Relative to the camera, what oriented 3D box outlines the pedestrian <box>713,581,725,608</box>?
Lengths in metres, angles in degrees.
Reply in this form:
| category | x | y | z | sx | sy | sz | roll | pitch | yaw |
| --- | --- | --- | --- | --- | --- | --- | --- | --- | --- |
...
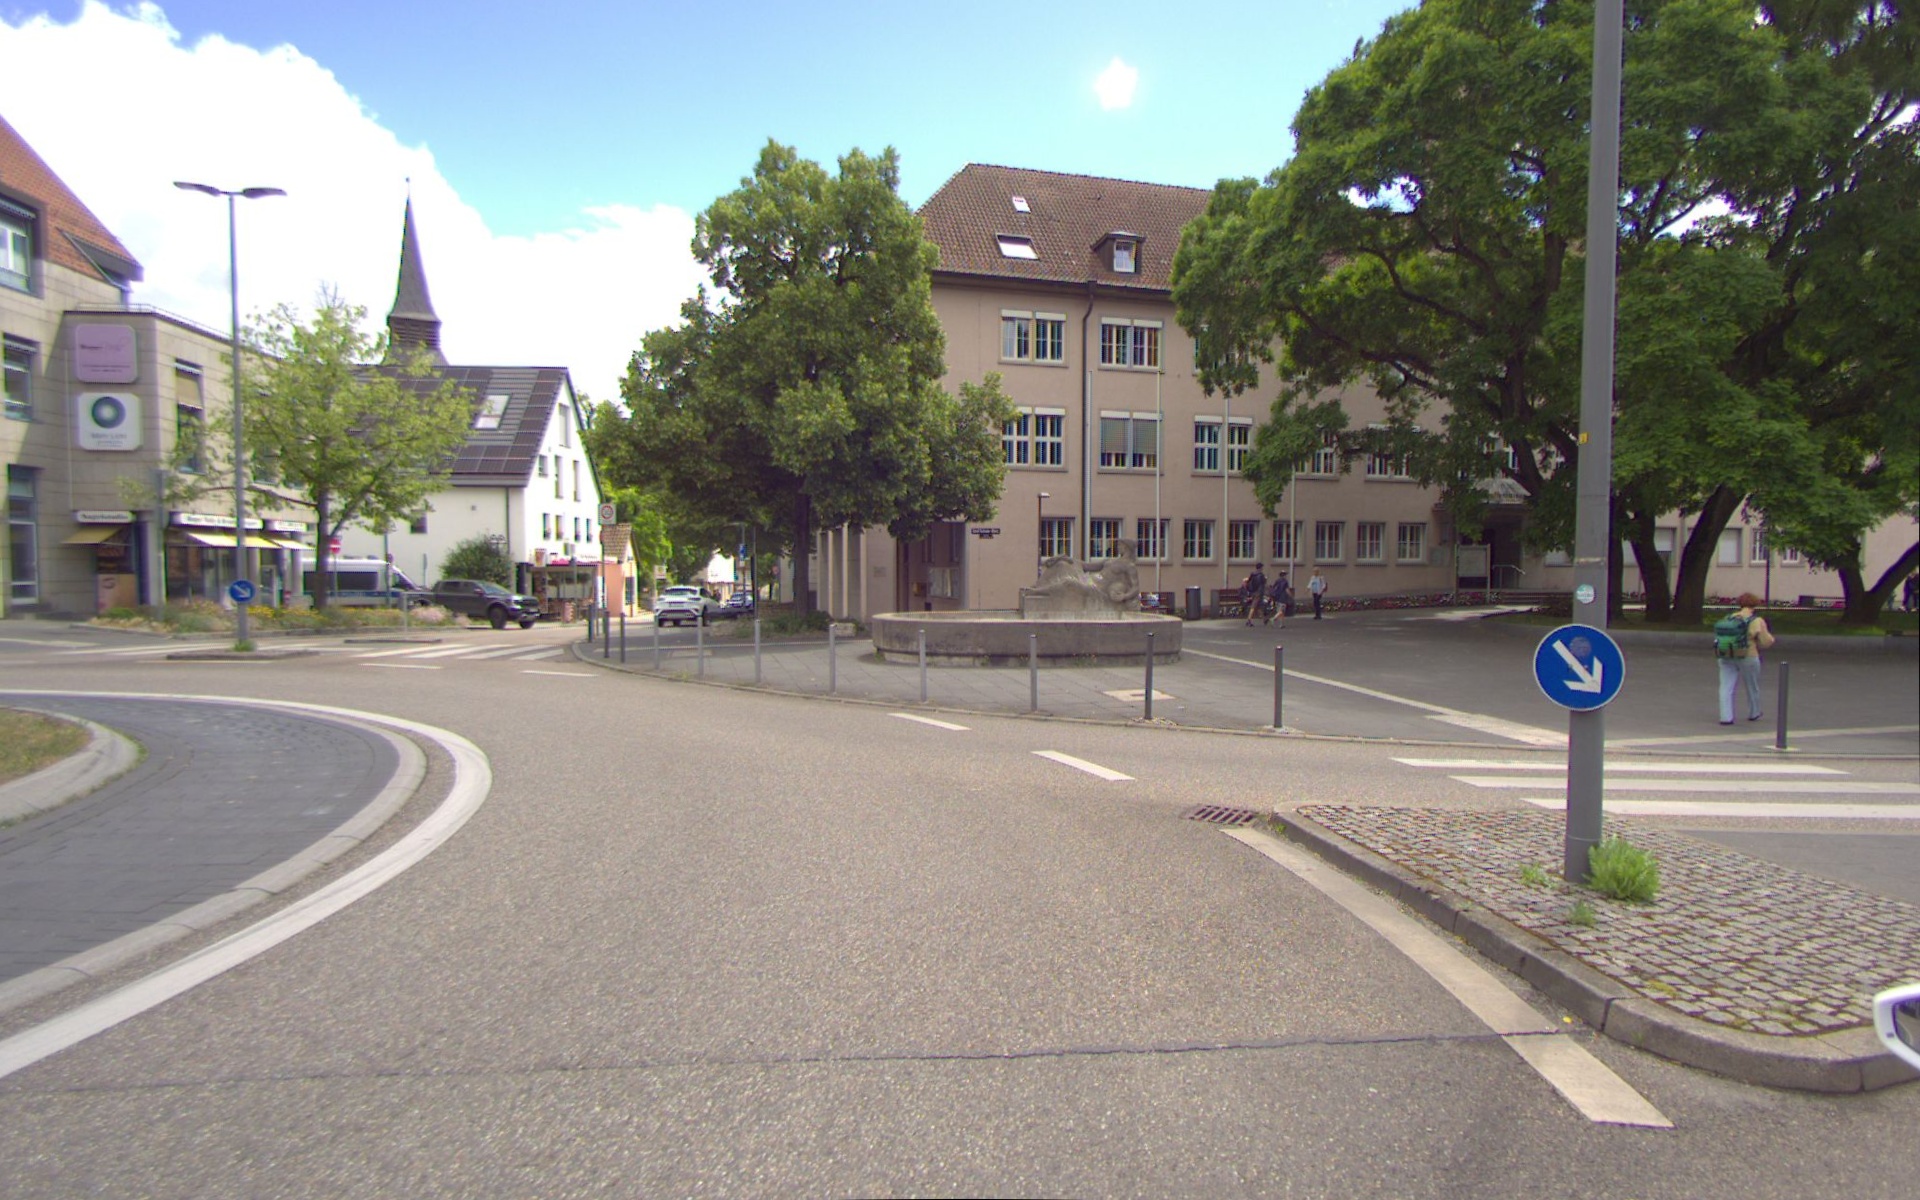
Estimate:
| category | x | y | z | sx | sy | sz | roll | pitch | yaw |
| --- | --- | --- | --- | --- | --- | --- | --- | --- | --- |
| pedestrian | -14.331 | -0.328 | 59.815 | 0.586 | 1.569 | 0.580 | 2 | 1 | -7 |

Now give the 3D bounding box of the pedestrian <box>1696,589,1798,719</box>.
| category | x | y | z | sx | sy | sz | roll | pitch | yaw |
| --- | --- | --- | --- | --- | --- | --- | --- | --- | --- |
| pedestrian | 9.653 | 0.646 | 12.335 | 0.773 | 1.535 | 0.551 | -1 | 3 | -4 |

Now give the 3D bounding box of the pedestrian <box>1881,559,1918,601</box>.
| category | x | y | z | sx | sy | sz | roll | pitch | yaw |
| --- | --- | --- | --- | --- | --- | --- | --- | --- | --- |
| pedestrian | 36.293 | -0.762 | 38.807 | 0.626 | 1.598 | 0.786 | 1 | 1 | -13 |

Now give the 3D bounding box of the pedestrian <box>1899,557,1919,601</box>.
| category | x | y | z | sx | sy | sz | roll | pitch | yaw |
| --- | --- | --- | --- | --- | --- | --- | --- | --- | --- |
| pedestrian | 35.876 | -0.784 | 37.613 | 0.626 | 1.649 | 0.786 | 1 | 1 | -13 |

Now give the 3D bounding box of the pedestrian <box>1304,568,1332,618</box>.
| category | x | y | z | sx | sy | sz | roll | pitch | yaw |
| --- | --- | --- | --- | --- | --- | --- | --- | --- | --- |
| pedestrian | 11.089 | -0.219 | 31.134 | 0.686 | 1.513 | 0.815 | 2 | 1 | 15 |

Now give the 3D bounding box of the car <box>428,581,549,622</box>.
| category | x | y | z | sx | sy | sz | roll | pitch | yaw |
| --- | --- | --- | --- | --- | --- | --- | --- | --- | --- |
| car | -18.275 | 0.045 | 38.999 | 3.919 | 1.439 | 1.691 | 1 | 1 | 6 |

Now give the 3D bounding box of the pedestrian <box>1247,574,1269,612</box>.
| category | x | y | z | sx | sy | sz | roll | pitch | yaw |
| --- | --- | --- | --- | --- | --- | --- | --- | --- | --- |
| pedestrian | 9.613 | -0.229 | 32.413 | 0.480 | 1.198 | 0.579 | 3 | 2 | 35 |

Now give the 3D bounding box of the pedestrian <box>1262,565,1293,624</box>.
| category | x | y | z | sx | sy | sz | roll | pitch | yaw |
| --- | --- | --- | --- | --- | --- | --- | --- | --- | --- |
| pedestrian | 8.719 | -0.157 | 27.620 | 0.626 | 1.544 | 0.577 | 2 | 5 | 3 |

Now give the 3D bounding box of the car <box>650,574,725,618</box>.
| category | x | y | z | sx | sy | sz | roll | pitch | yaw |
| --- | --- | --- | --- | --- | --- | --- | --- | --- | --- |
| car | -10.232 | -0.181 | 38.048 | 1.946 | 1.551 | 3.997 | 1 | 1 | -4 |

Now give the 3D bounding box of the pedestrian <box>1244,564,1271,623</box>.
| category | x | y | z | sx | sy | sz | roll | pitch | yaw |
| --- | --- | --- | --- | --- | --- | --- | --- | --- | --- |
| pedestrian | 8.409 | -0.182 | 28.408 | 0.563 | 1.631 | 0.437 | 2 | 5 | 3 |

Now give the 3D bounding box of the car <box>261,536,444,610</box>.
| category | x | y | z | sx | sy | sz | roll | pitch | yaw |
| --- | --- | --- | --- | --- | --- | --- | --- | --- | --- |
| car | -24.913 | -1.020 | 41.334 | 6.244 | 2.593 | 2.185 | 3 | -2 | -36 |

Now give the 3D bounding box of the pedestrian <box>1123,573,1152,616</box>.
| category | x | y | z | sx | sy | sz | roll | pitch | yaw |
| --- | --- | --- | --- | --- | --- | --- | --- | --- | --- |
| pedestrian | 5.489 | -0.174 | 31.048 | 0.688 | 1.279 | 0.580 | 2 | 1 | -9 |

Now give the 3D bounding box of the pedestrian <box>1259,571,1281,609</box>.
| category | x | y | z | sx | sy | sz | roll | pitch | yaw |
| --- | --- | --- | --- | --- | --- | --- | --- | --- | --- |
| pedestrian | 10.175 | -0.331 | 32.975 | 0.480 | 1.238 | 0.579 | 3 | 2 | 35 |
